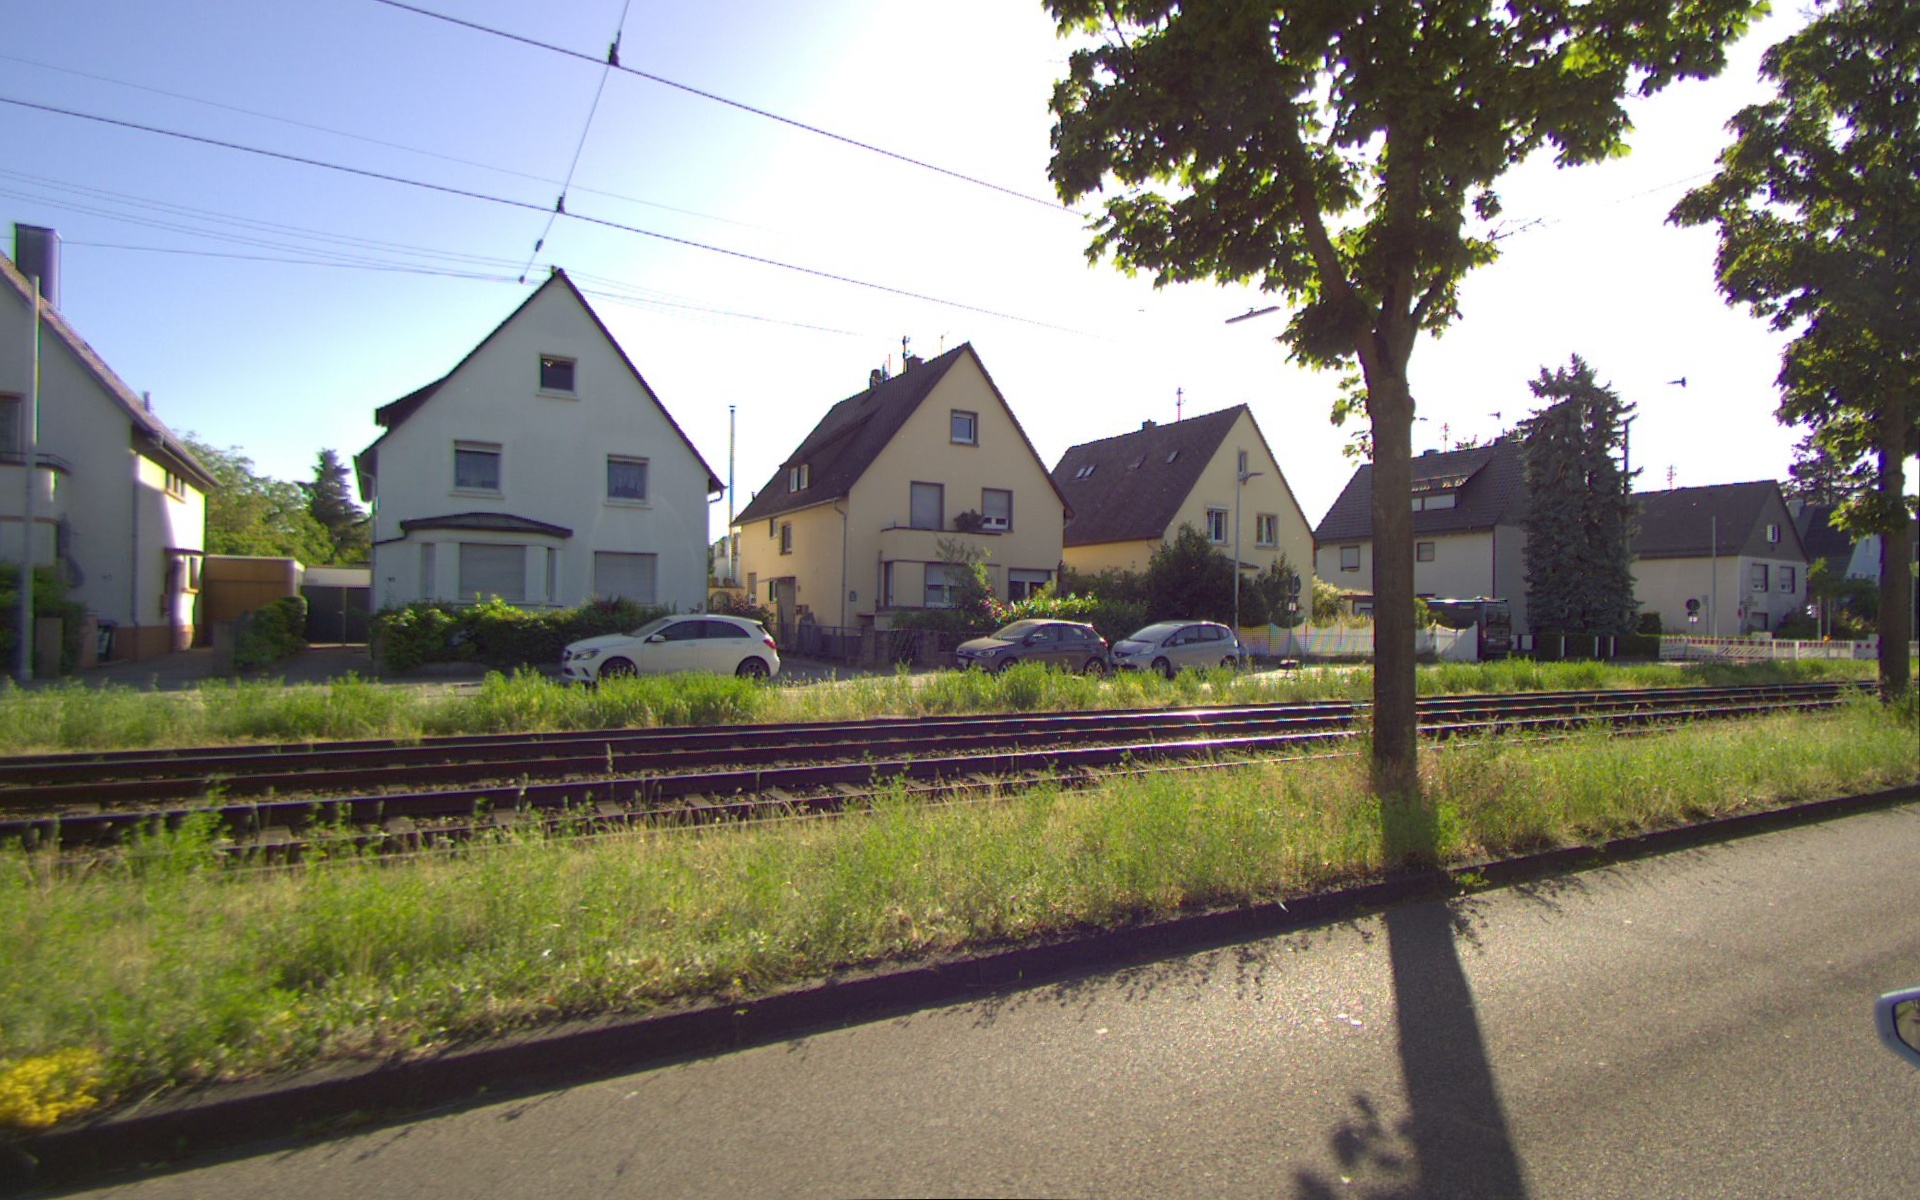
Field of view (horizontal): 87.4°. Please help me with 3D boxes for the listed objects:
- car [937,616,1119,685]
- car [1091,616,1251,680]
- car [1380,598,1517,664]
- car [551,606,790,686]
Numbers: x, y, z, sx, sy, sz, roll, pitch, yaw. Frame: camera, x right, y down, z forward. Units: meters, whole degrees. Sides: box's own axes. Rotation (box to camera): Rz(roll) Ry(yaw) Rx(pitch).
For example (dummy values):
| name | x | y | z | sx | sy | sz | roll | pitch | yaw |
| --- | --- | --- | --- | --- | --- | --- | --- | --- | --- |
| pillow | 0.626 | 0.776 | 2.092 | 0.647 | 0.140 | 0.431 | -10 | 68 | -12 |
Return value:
| name | x | y | z | sx | sy | sz | roll | pitch | yaw |
| --- | --- | --- | --- | --- | --- | --- | --- | --- | --- |
| car | 1.714 | 1.241 | 24.993 | 4.080 | 1.469 | 1.983 | 2 | 2 | -31 |
| car | 5.774 | 1.298 | 27.408 | 4.010 | 1.574 | 1.937 | 2 | 0 | -31 |
| car | 20.840 | 1.269 | 43.096 | 2.077 | 2.660 | 5.005 | 1 | -1 | -30 |
| car | -5.911 | 0.929 | 20.575 | 4.356 | 1.445 | 1.985 | 2 | 0 | -29 |
